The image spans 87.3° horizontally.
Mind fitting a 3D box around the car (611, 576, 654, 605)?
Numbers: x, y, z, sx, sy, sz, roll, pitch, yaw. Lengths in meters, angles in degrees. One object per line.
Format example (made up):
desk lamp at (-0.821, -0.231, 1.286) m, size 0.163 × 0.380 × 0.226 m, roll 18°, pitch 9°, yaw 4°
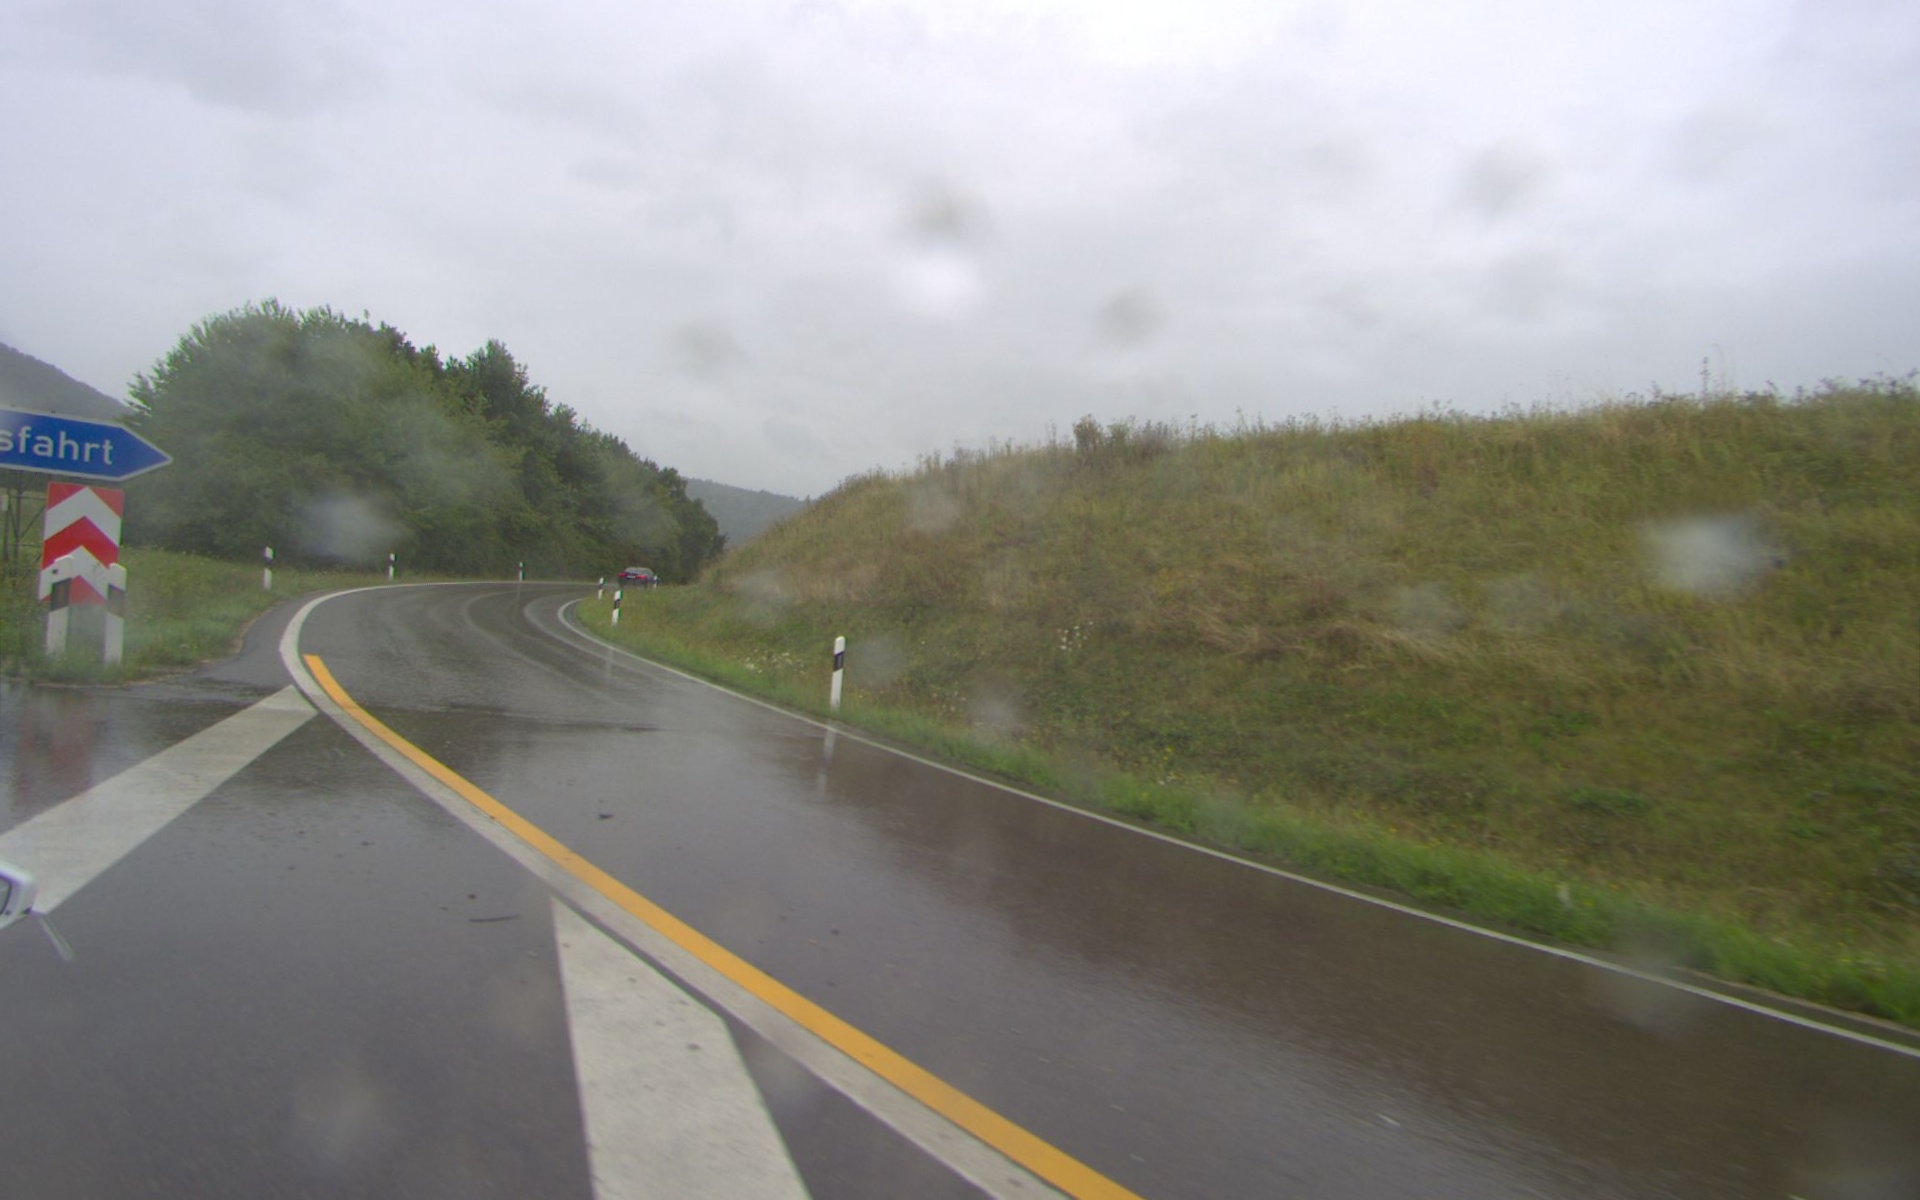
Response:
car at (-21.145, -0.611, 65.050) m, size 1.676 × 1.525 × 3.633 m, roll 8°, pitch -2°, yaw -4°
